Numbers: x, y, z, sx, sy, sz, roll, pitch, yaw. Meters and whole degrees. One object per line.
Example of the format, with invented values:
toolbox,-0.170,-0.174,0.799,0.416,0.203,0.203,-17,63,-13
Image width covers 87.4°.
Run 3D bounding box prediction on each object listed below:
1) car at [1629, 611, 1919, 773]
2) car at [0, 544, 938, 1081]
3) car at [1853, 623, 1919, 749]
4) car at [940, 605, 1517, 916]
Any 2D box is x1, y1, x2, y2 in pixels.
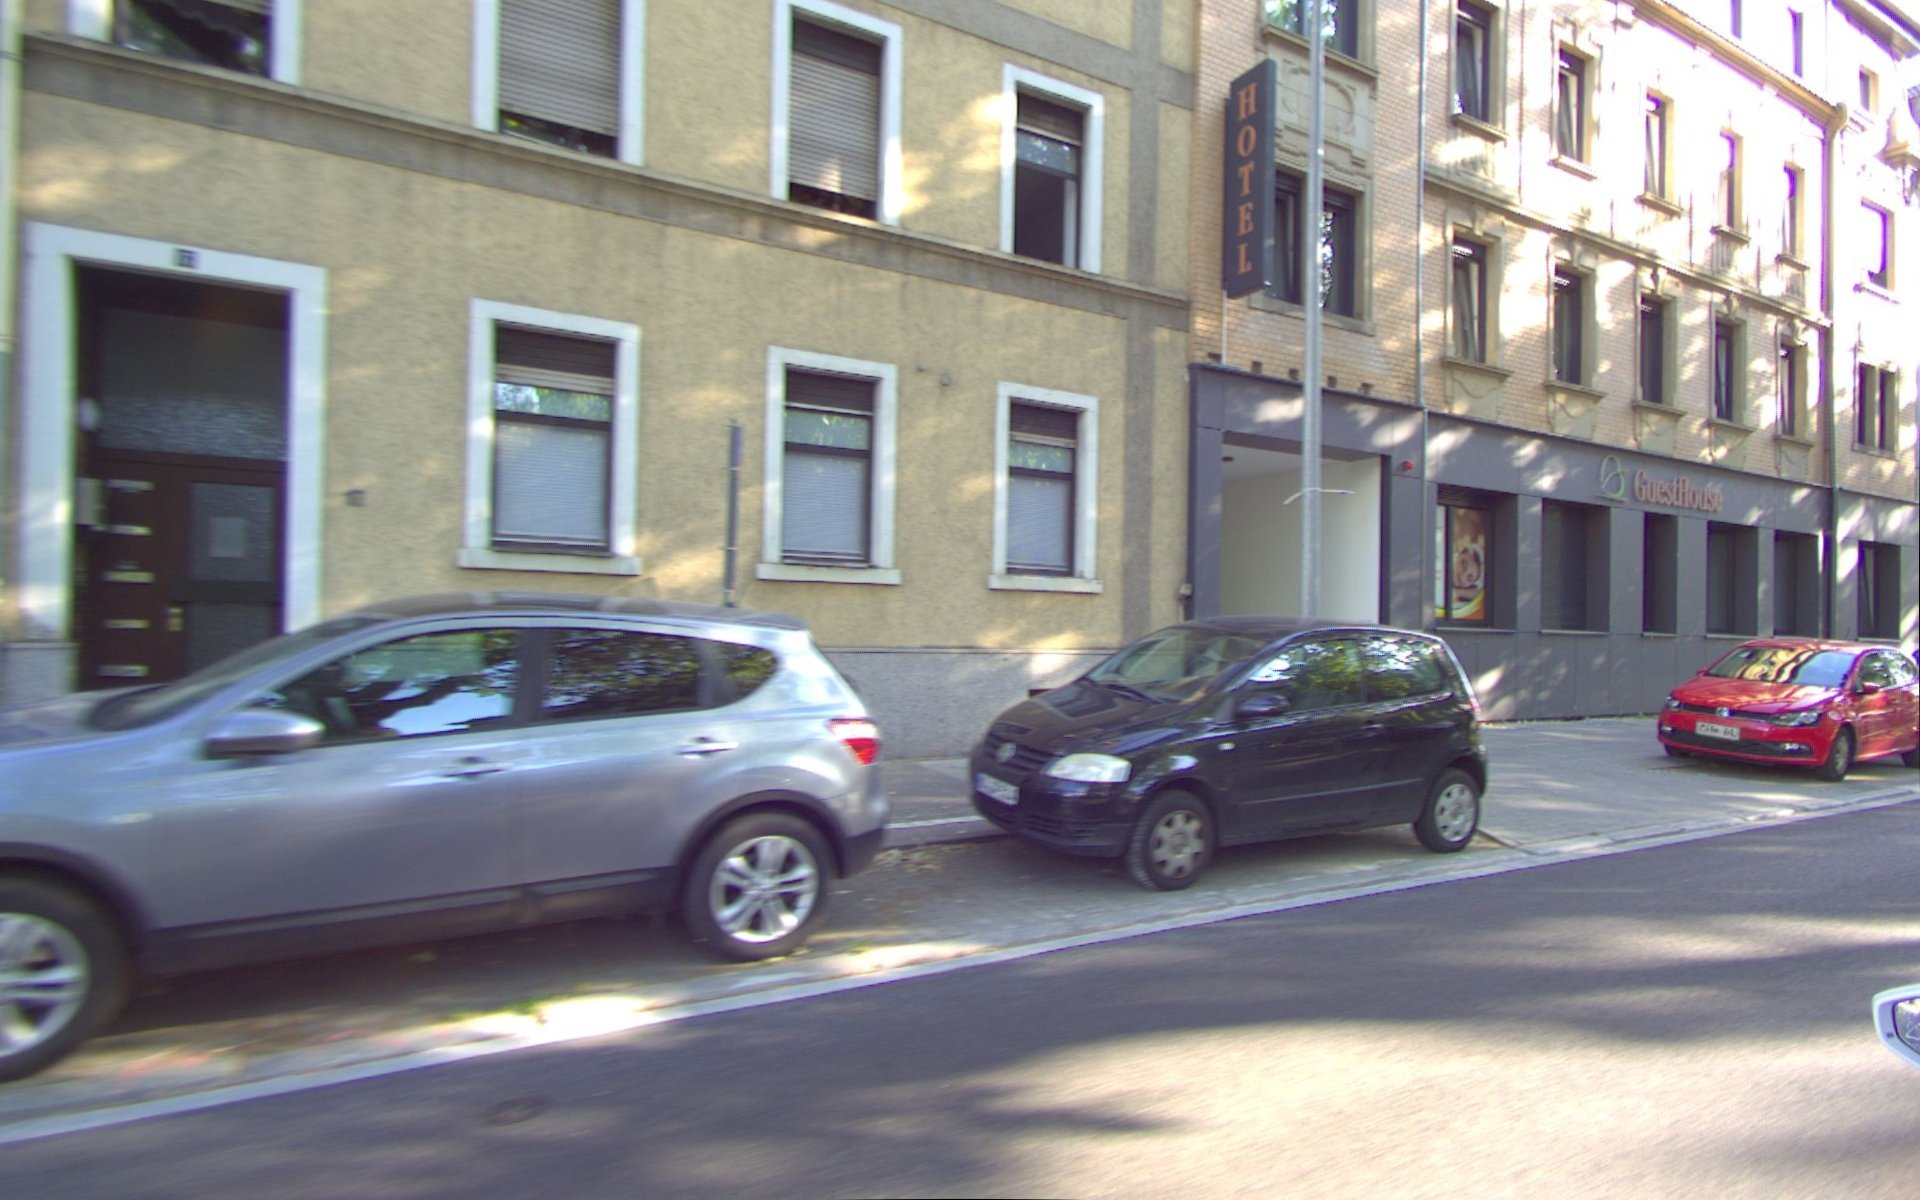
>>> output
car,9.802,0.989,11.829,3.711,1.613,1.670,2,0,-29
car,-2.335,0.691,4.560,4.105,1.695,1.774,2,0,-29
car,14.324,1.176,13.878,4.149,1.606,1.670,2,0,-29
car,1.881,0.906,6.941,3.658,1.626,1.671,2,0,-27
